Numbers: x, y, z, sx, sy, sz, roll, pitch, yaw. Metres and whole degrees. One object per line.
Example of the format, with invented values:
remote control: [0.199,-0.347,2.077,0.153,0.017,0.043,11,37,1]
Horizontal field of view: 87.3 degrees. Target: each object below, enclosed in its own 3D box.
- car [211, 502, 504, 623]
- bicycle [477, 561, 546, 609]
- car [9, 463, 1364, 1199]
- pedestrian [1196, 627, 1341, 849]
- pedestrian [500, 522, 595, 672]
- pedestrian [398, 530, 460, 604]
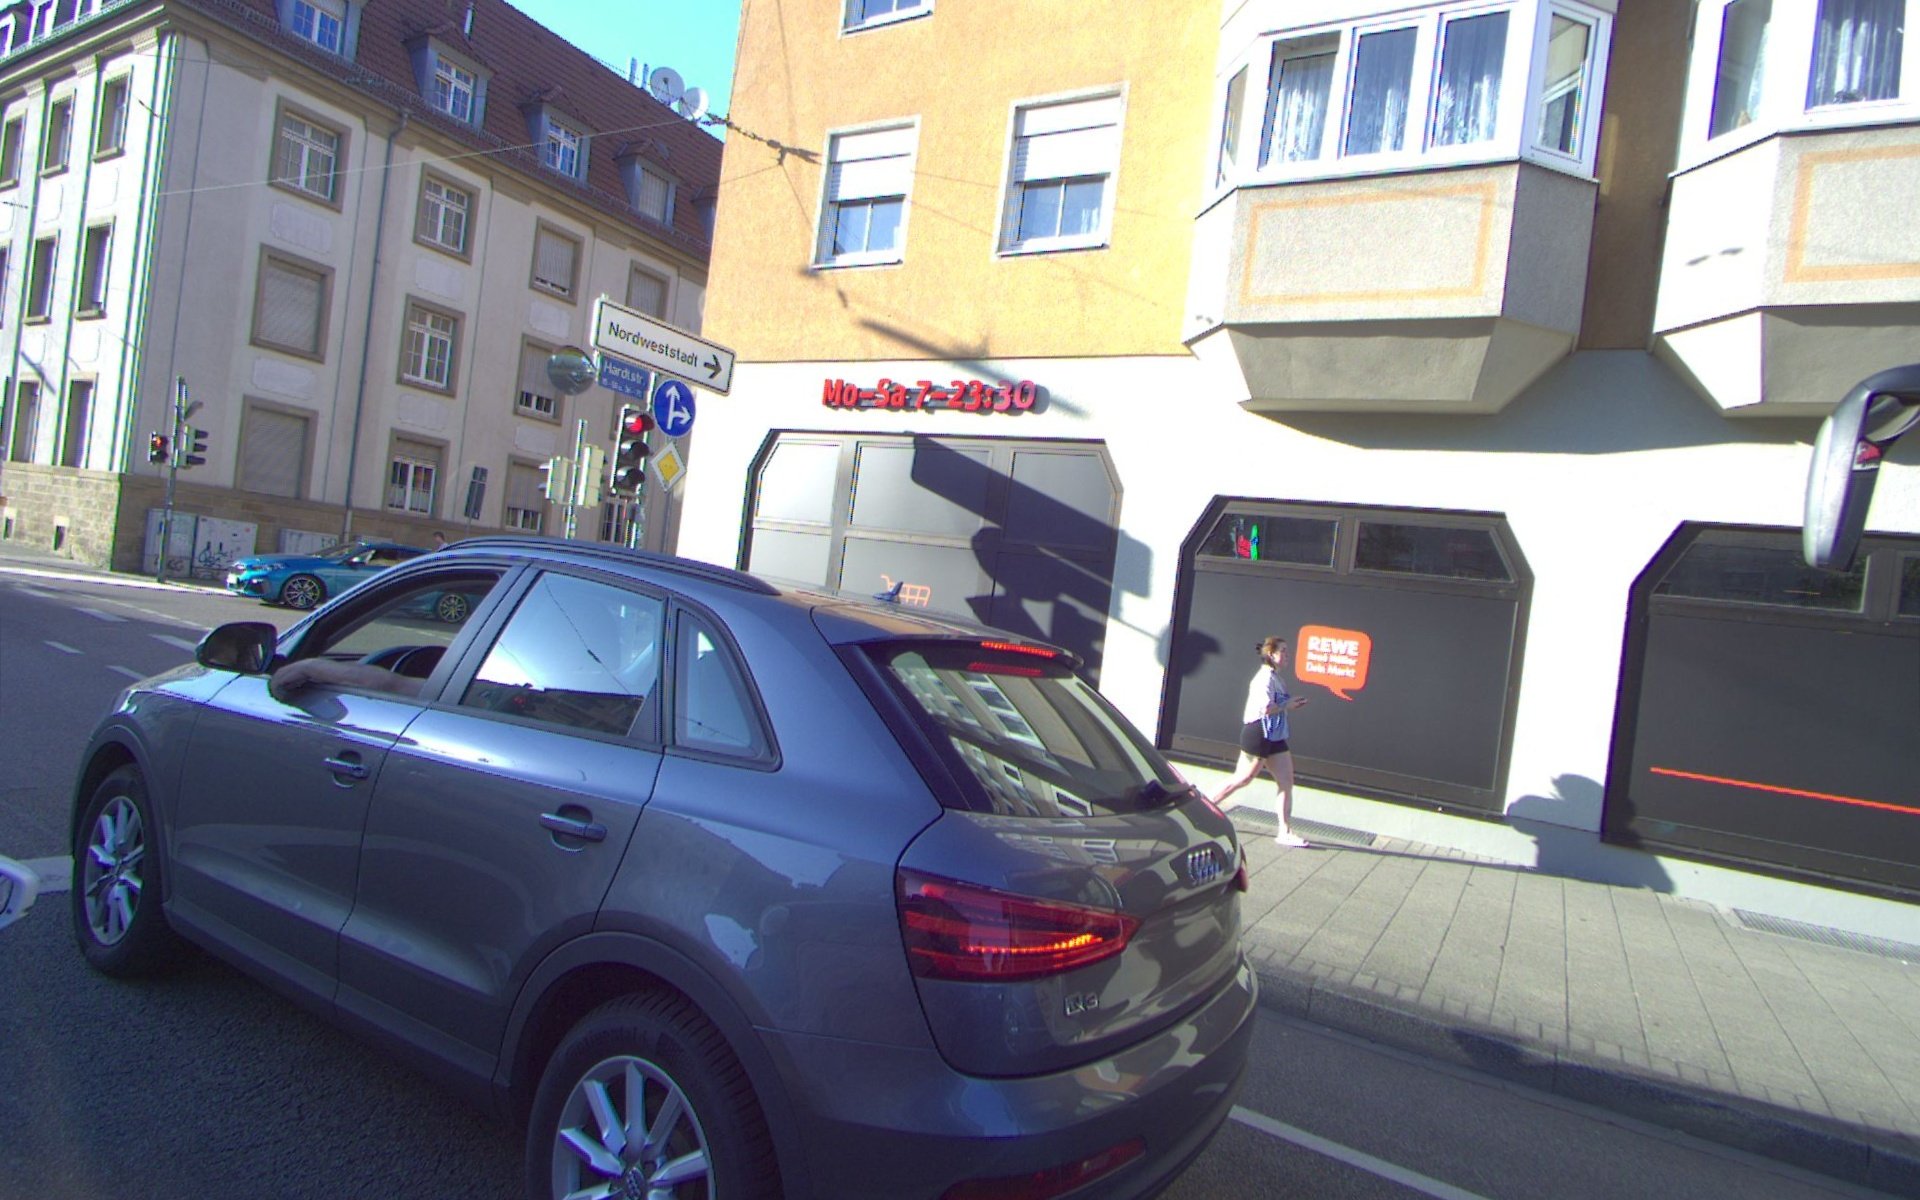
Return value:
car: [-11.750,-0.679,19.884,1.970,1.749,4.459,6,-1,38]
bicycle: [-12.426,-0.403,27.904,0.657,1.131,1.564,7,0,32]
car: [-1.082,0.584,3.197,4.018,1.595,1.772,7,0,32]
pedestrian: [2.374,1.033,7.755,0.817,1.544,0.440,7,1,32]
pedestrian: [-5.563,-0.034,13.581,0.706,1.896,0.694,6,-2,31]
pedestrian: [-13.355,-0.818,25.313,0.657,1.703,1.038,7,1,31]
